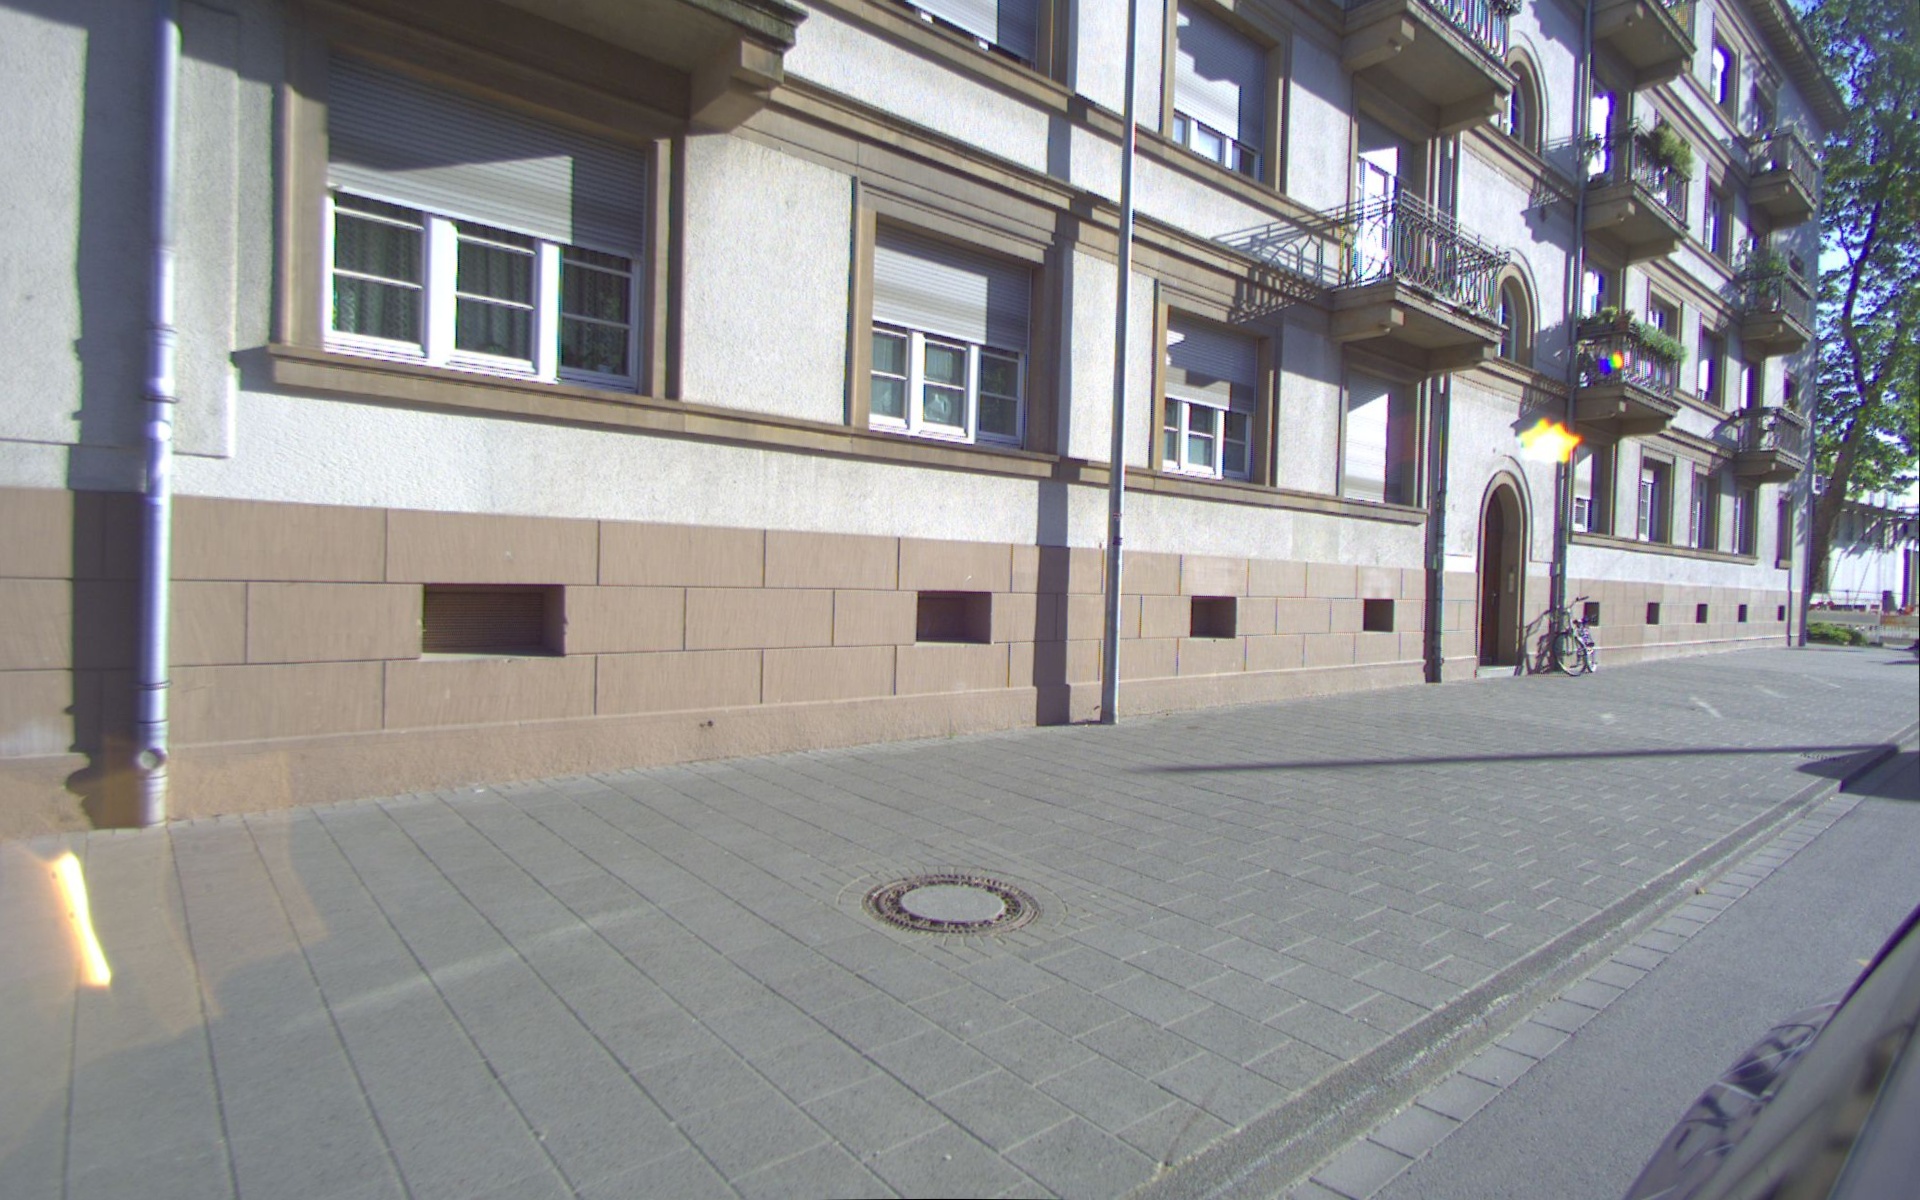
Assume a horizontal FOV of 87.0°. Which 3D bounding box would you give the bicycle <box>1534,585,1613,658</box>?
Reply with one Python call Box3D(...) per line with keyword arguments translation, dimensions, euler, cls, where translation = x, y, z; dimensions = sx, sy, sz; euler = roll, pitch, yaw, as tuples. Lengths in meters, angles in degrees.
Box3D(translation=(10.059, 0.325, 16.559), dimensions=(2.159, 1.109, 0.419), euler=(0, 2, -41), cls="bicycle")
